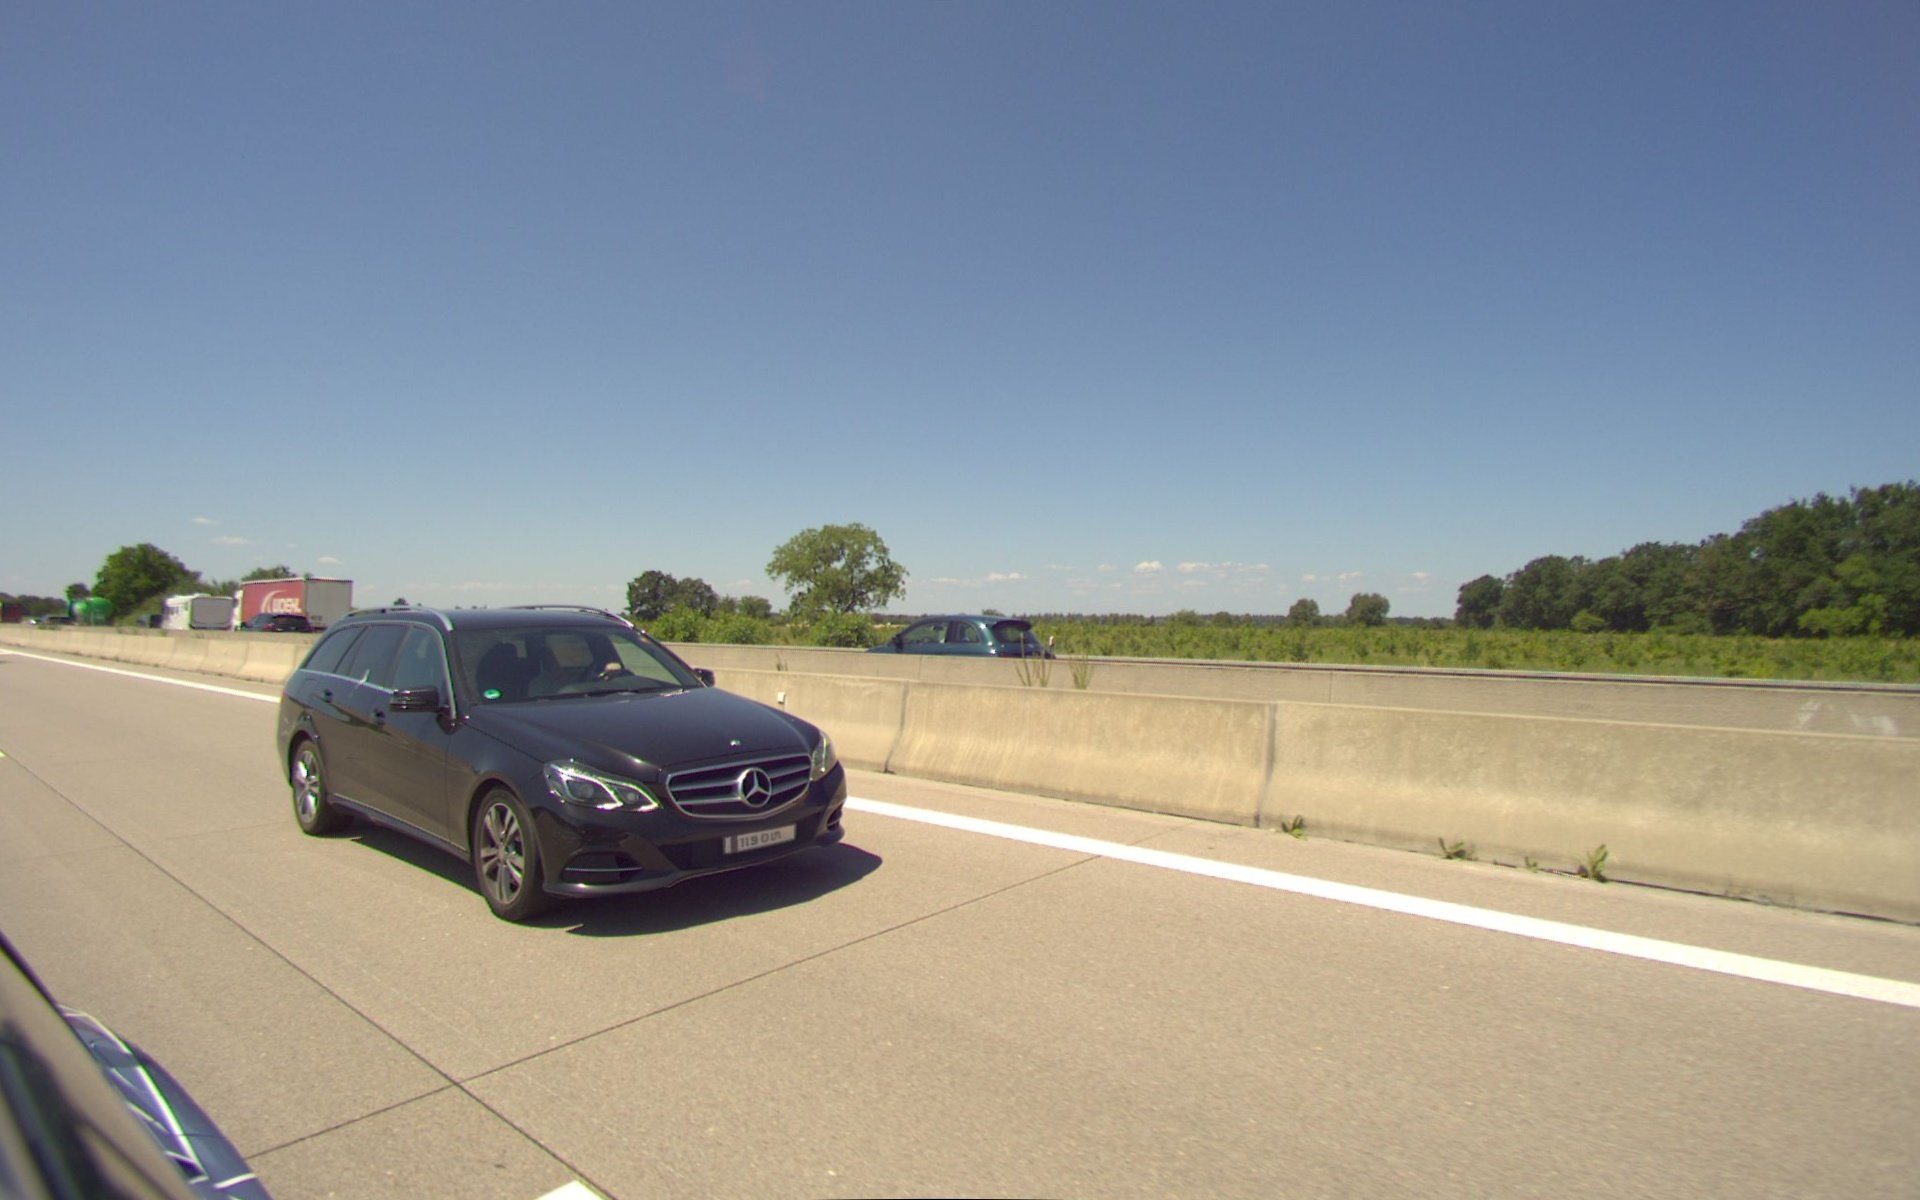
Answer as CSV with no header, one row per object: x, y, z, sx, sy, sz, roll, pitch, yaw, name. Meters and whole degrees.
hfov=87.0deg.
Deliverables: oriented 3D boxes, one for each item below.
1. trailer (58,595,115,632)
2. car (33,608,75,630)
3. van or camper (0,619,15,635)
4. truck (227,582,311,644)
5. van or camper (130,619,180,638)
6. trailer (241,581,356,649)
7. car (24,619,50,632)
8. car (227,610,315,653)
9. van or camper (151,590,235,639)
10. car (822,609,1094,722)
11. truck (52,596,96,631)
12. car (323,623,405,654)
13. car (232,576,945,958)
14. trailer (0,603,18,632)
-97.019,1.531,112.338,11.090,3.907,2.709,-1,-2,38,trailer
-67.018,1.444,74.813,4.599,1.567,1.775,-1,-2,42,car
-102.297,2.872,107.491,5.847,1.705,2.218,-1,-2,42,van or camper
-46.894,0.911,68.568,7.292,4.013,2.968,-1,-2,42,truck
-71.893,2.519,90.348,6.087,1.634,2.341,-1,-2,41,van or camper
-42.291,1.029,64.478,12.336,4.013,2.968,-1,-2,42,trailer
-100.140,2.748,109.782,3.998,1.343,1.678,-1,-2,42,car
-27.718,1.261,40.692,4.425,1.628,1.824,-1,-2,41,car
-48.470,0.958,63.864,7.930,2.912,2.500,-1,-2,40,van or camper
-0.141,0.962,16.062,4.336,1.556,1.670,-1,-2,42,car
-101.611,1.628,116.006,6.196,3.912,2.717,-1,-2,38,truck
-25.820,1.632,43.808,4.789,1.273,1.670,-1,-2,42,car
-2.787,0.708,6.511,5.601,1.484,1.871,-1,-2,41,car
-153.632,2.845,162.082,13.229,4.572,2.772,-1,-2,42,trailer
